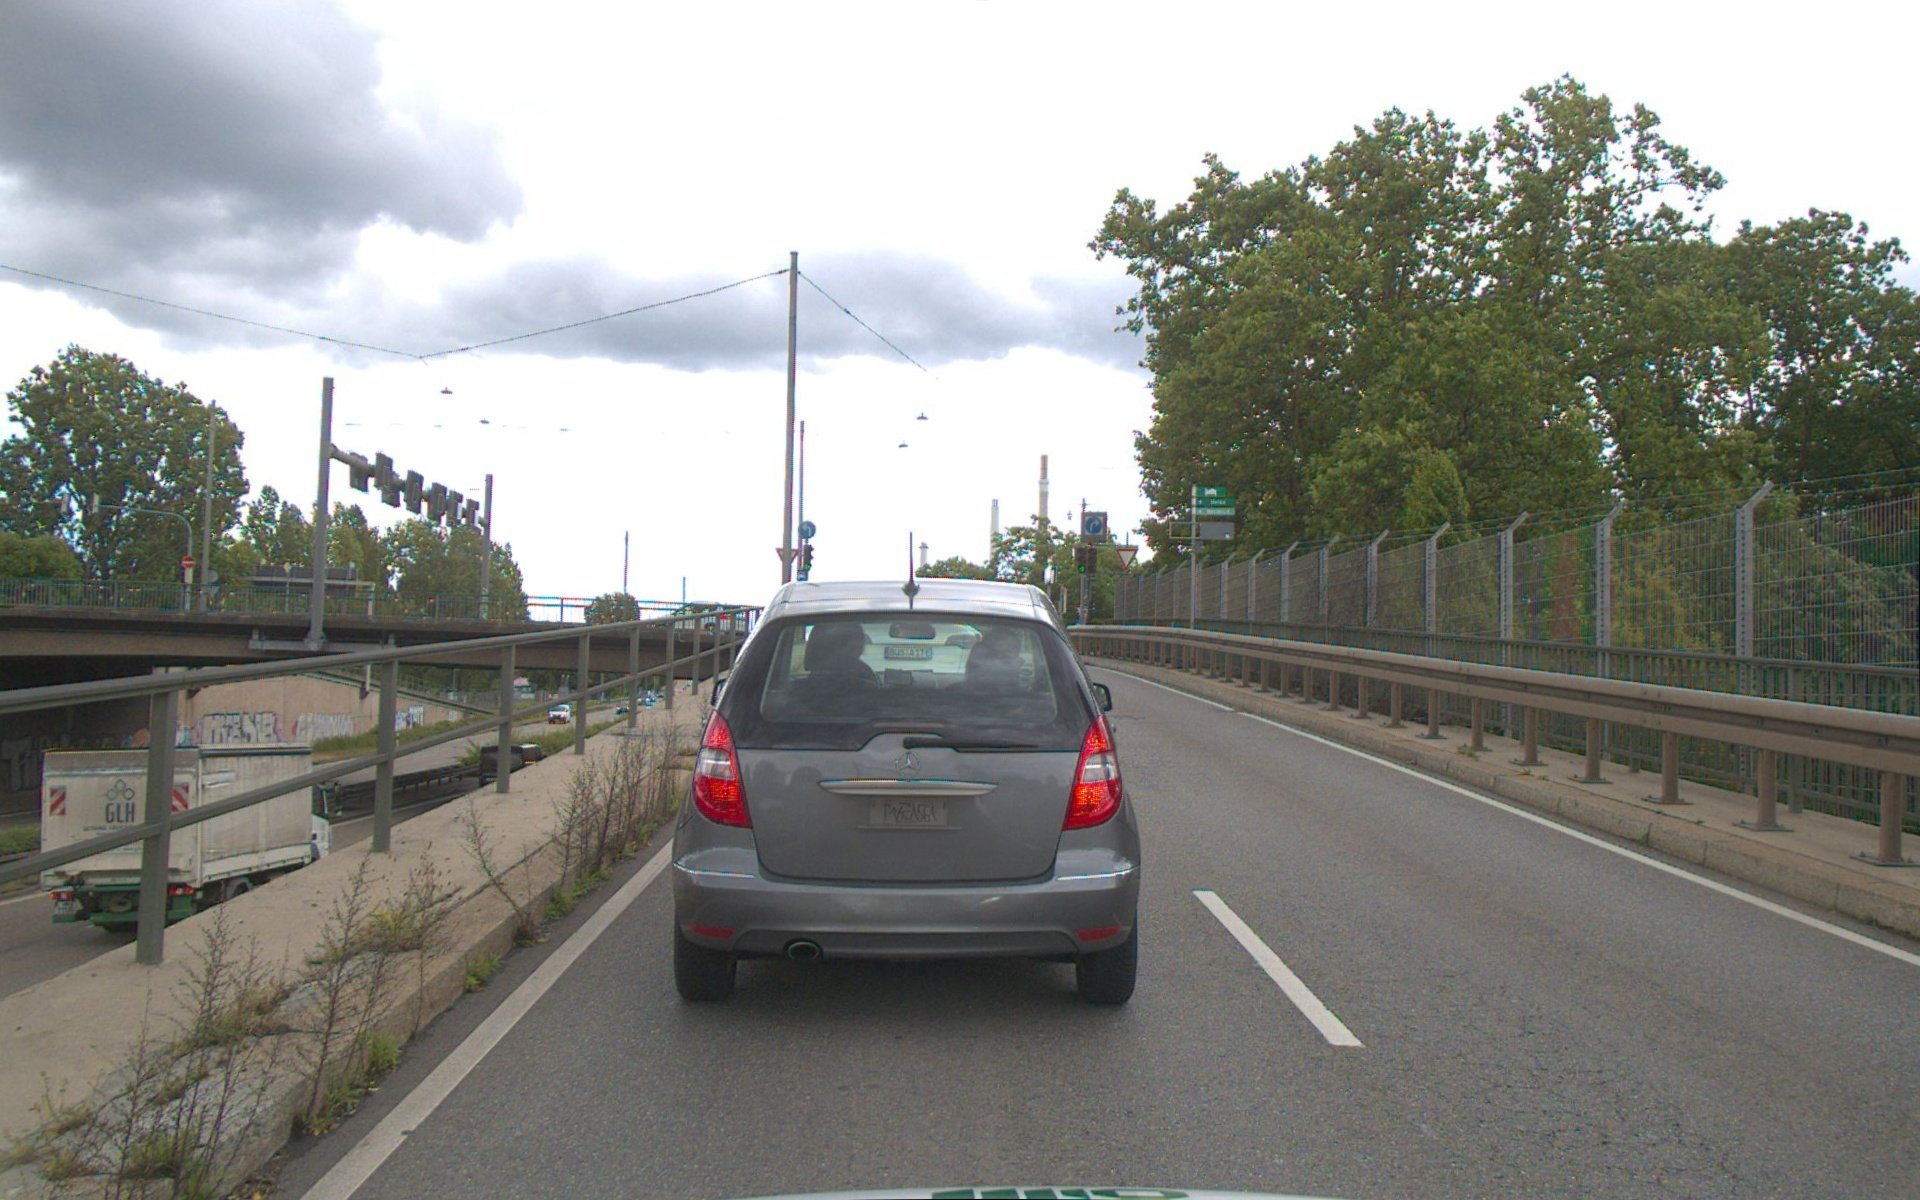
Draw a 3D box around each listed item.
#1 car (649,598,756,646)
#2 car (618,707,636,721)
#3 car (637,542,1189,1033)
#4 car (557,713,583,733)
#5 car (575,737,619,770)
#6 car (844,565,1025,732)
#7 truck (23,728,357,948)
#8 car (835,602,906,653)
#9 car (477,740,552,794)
[{"bbox_3d":[-10.797,0.889,69.206,4.124,1.903,1.995,1,0,32],"label":"car"},{"bbox_3d":[-46.008,15.742,228.674,1.877,1.769,4.548,0,-3,-4],"label":"car"},{"bbox_3d":[-0.181,0.630,7.540,1.820,1.616,3.999,1,0,-1],"label":"car"},{"bbox_3d":[-42.587,13.427,180.839,1.954,2.103,5.171,1,-3,-5],"label":"car"},{"bbox_3d":[-20.460,8.629,93.376,1.861,1.650,4.174,1,-3,-4],"label":"car"},{"bbox_3d":[-0.357,0.528,19.816,1.892,1.747,4.403,1,0,-2],"label":"car"},{"bbox_3d":[-13.789,4.118,30.456,2.690,3.351,7.438,0,-3,-1],"label":"truck"},{"bbox_3d":[-3.251,0.976,59.536,1.898,1.747,3.987,1,0,-13],"label":"car"},{"bbox_3d":[-18.708,6.994,69.681,1.860,2.038,4.956,1,-3,-1],"label":"car"}]
